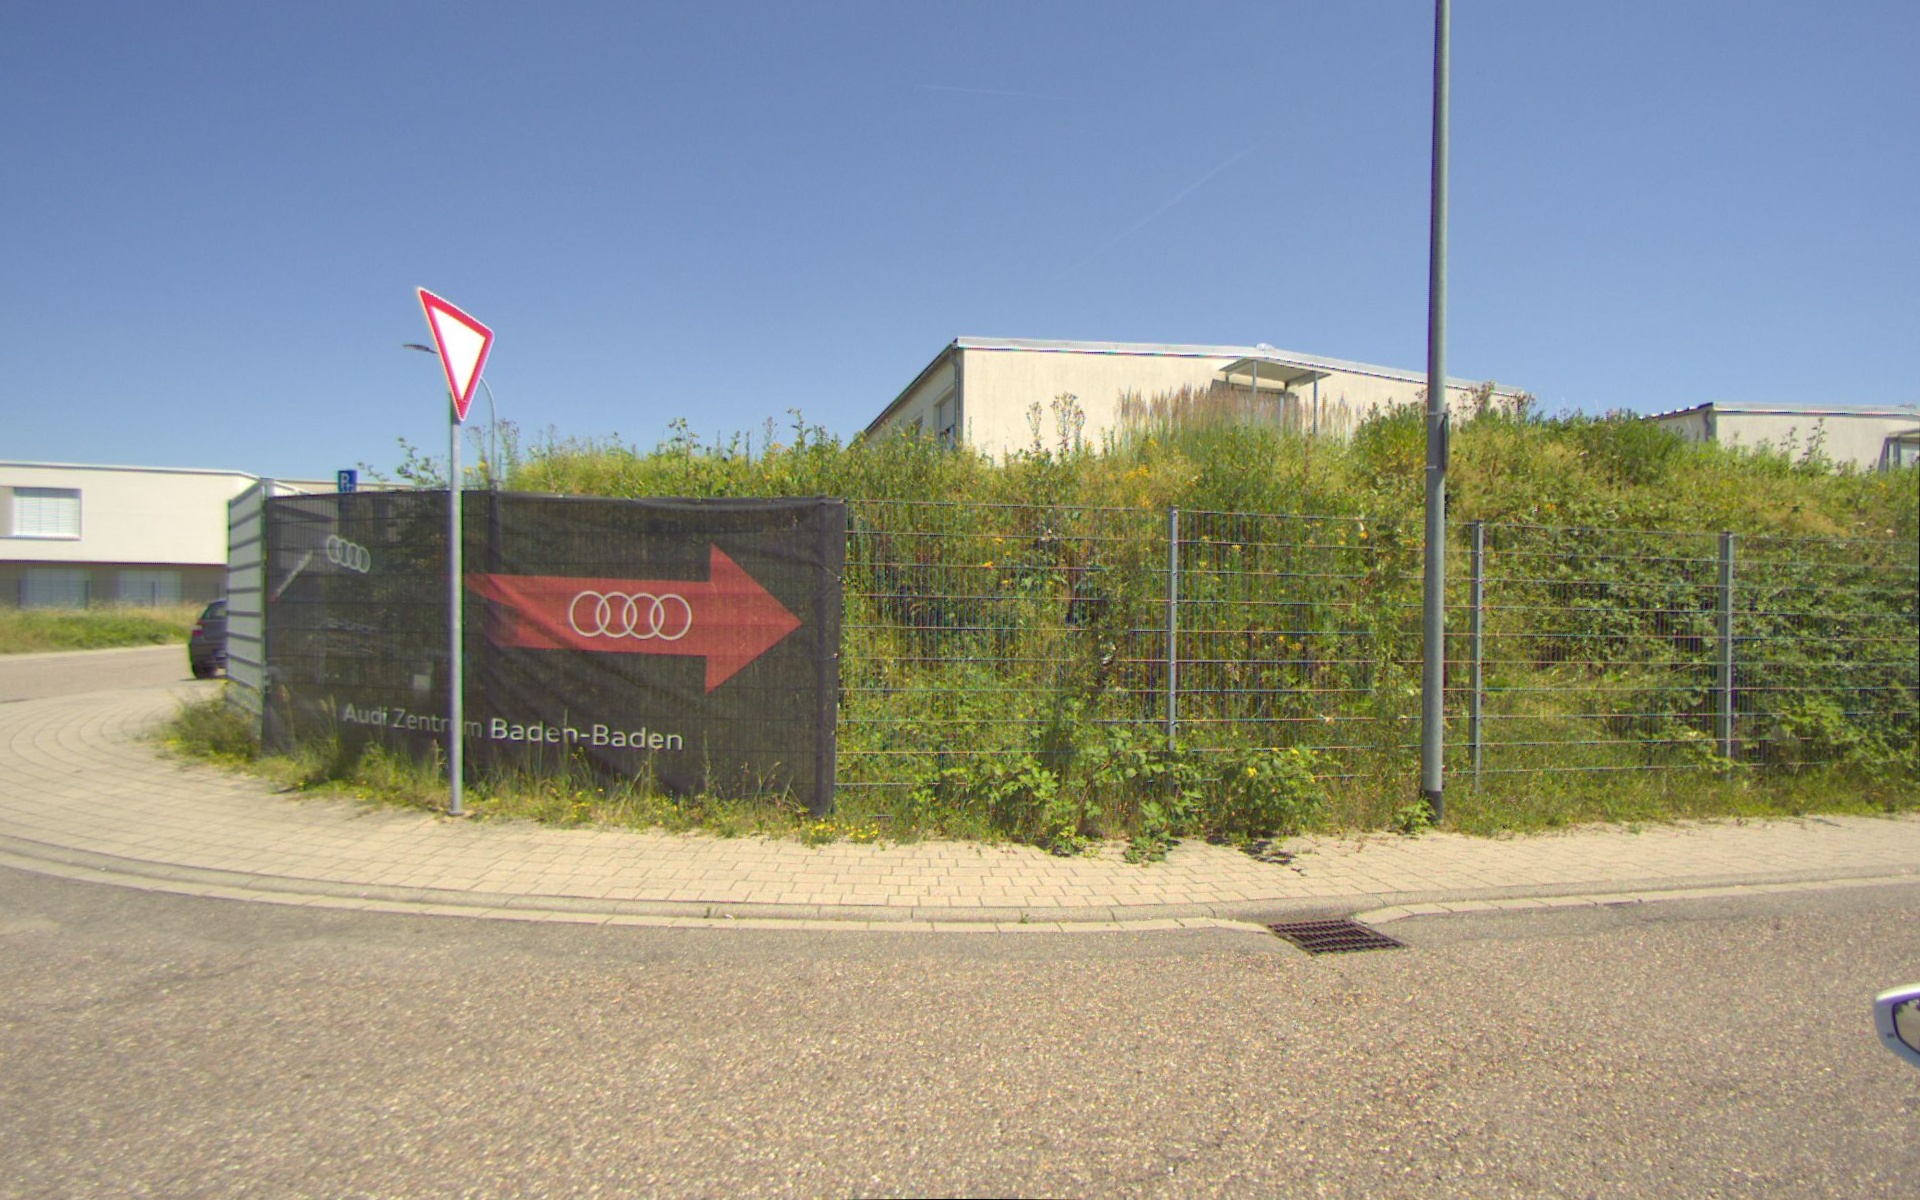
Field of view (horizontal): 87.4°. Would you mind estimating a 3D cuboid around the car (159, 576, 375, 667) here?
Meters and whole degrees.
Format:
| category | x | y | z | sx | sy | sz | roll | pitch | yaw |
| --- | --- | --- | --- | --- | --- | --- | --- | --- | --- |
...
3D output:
| category | x | y | z | sx | sy | sz | roll | pitch | yaw |
| --- | --- | --- | --- | --- | --- | --- | --- | --- | --- |
| car | -12.575 | 0.361 | 18.568 | 1.880 | 1.467 | 3.991 | -1 | 0 | -12 |
